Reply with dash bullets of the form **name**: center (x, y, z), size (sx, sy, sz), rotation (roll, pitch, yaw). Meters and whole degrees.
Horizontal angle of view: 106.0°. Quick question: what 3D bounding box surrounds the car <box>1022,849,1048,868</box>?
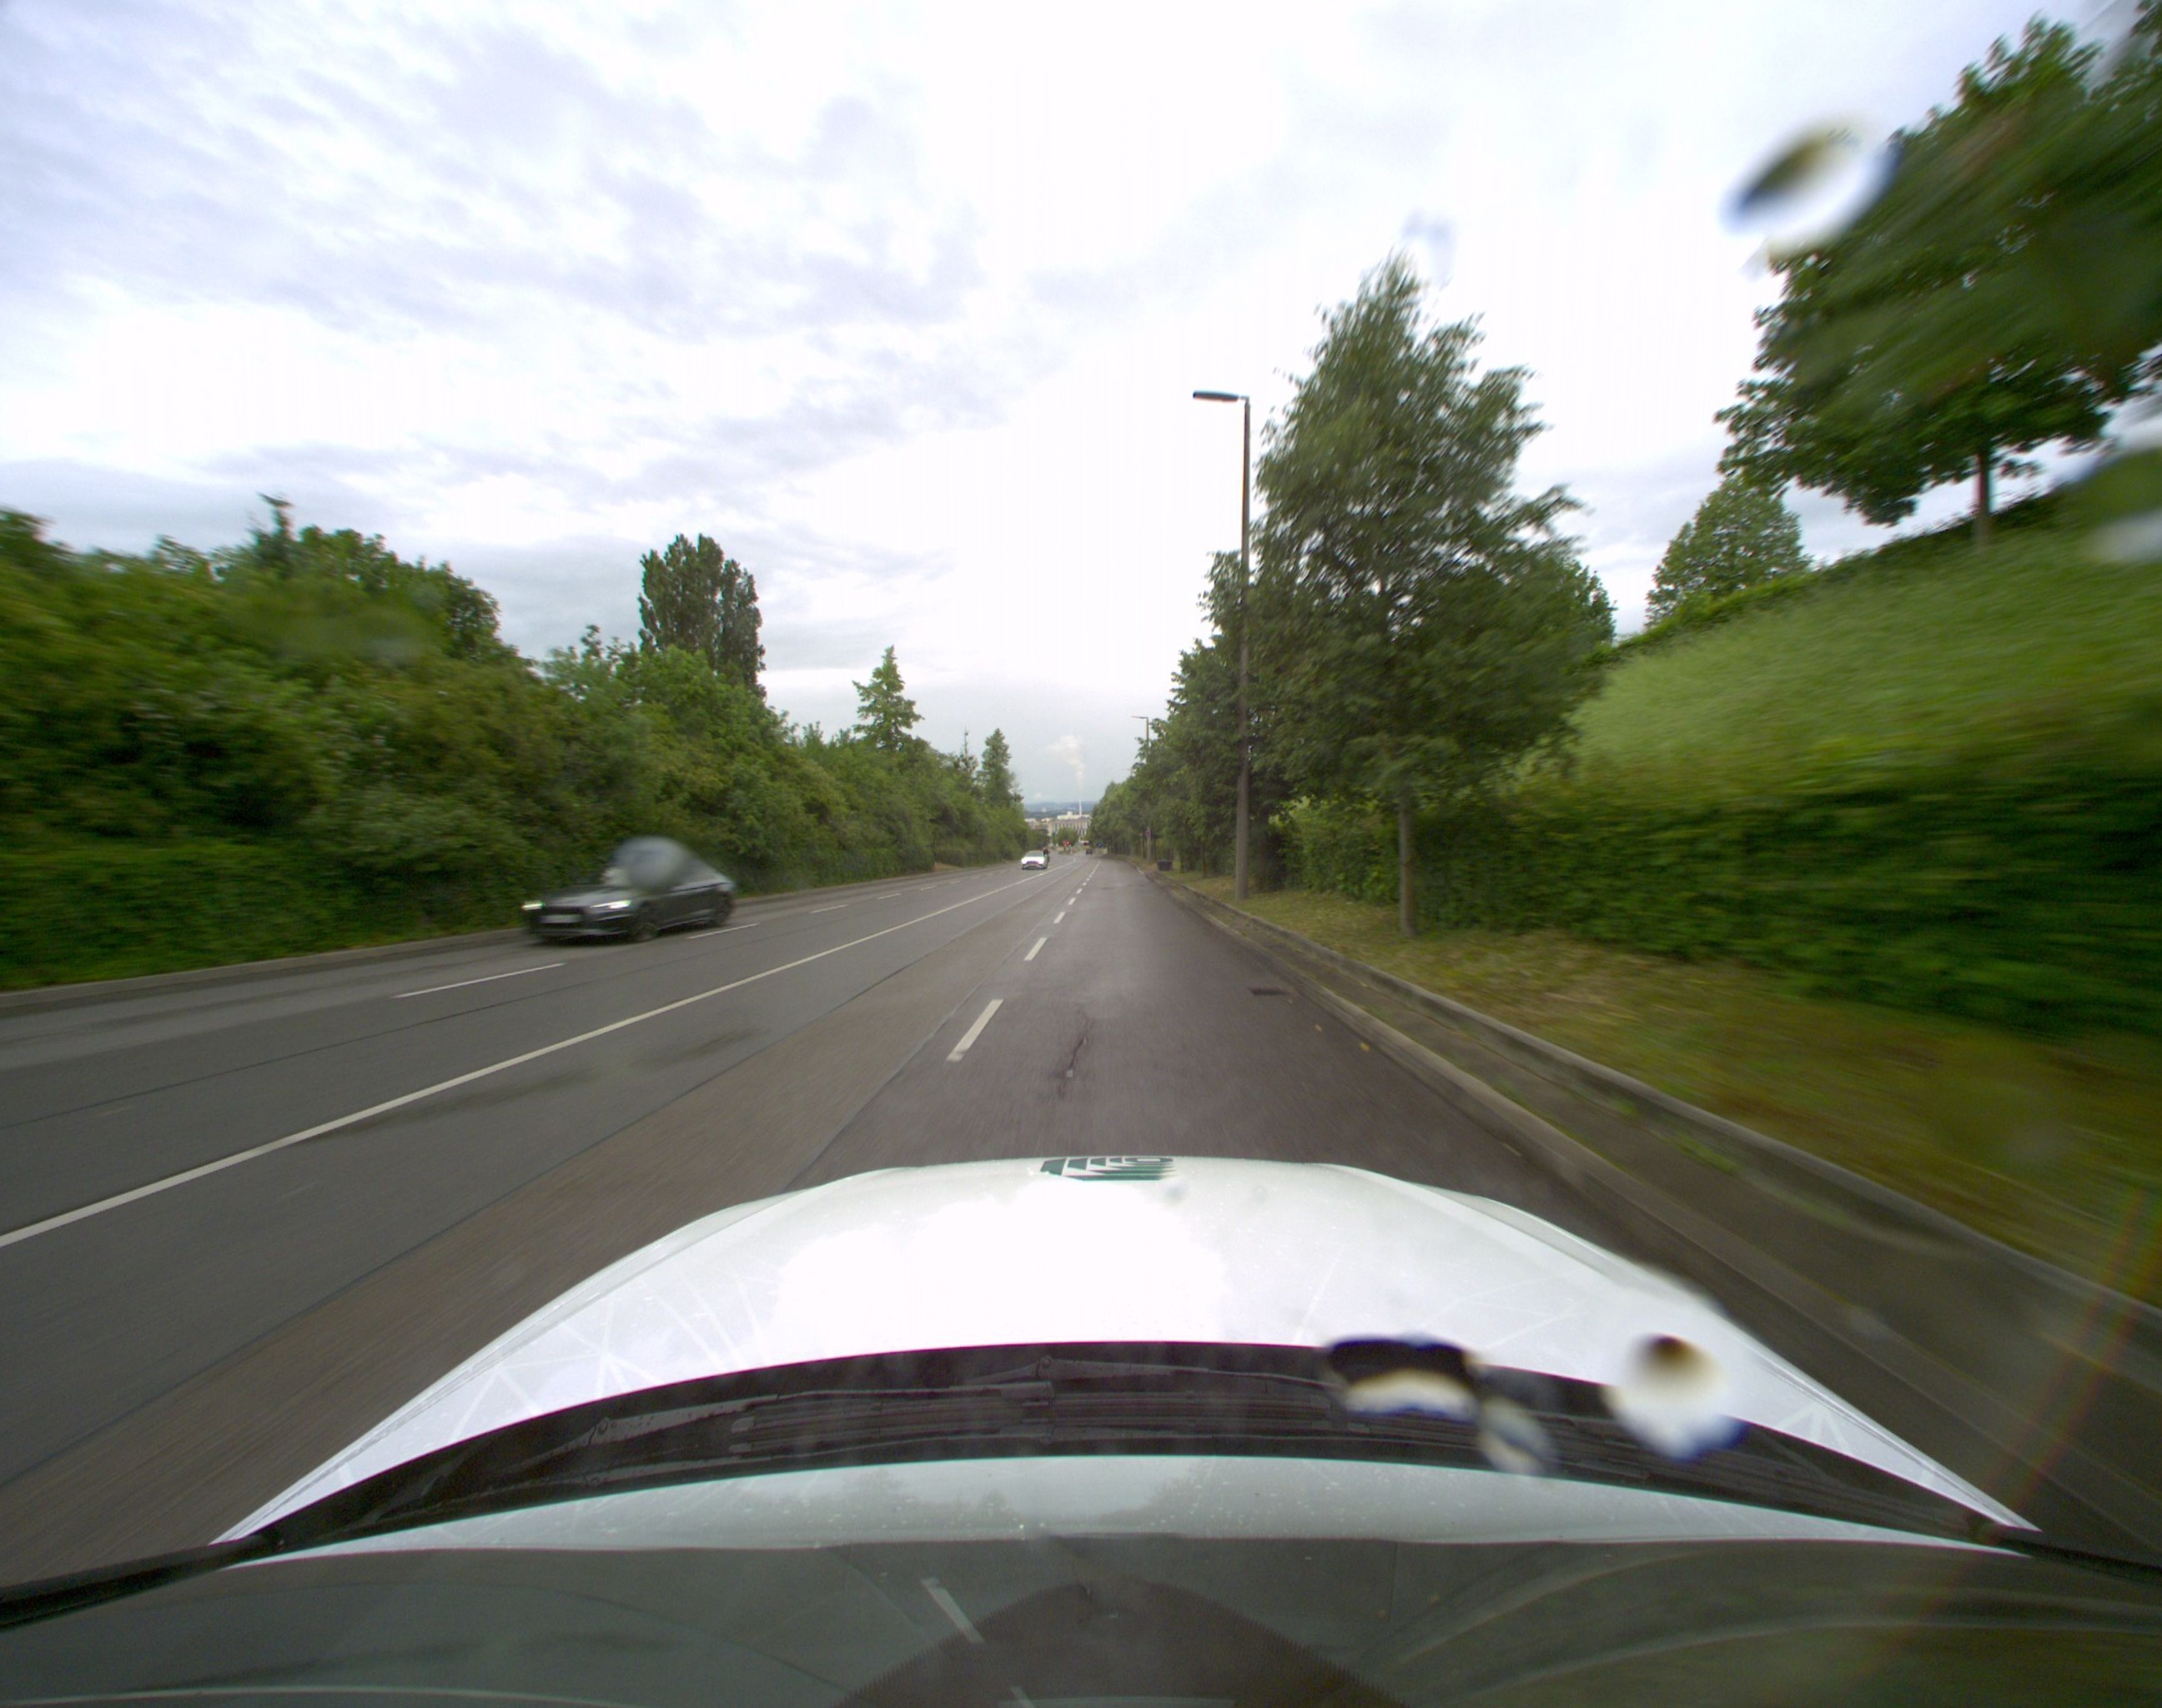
- **car**: center (-3.714, 0.348, 66.167), size (1.708, 1.505, 4.519), rotation (1, 0, 2)

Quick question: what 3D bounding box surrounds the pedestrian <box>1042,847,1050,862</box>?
- **pedestrian**: center (-3.584, 0.042, 83.445), size (0.802, 1.541, 1.112), rotation (0, 0, 2)

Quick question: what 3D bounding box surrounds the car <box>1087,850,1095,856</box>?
- **car**: center (2.655, -0.294, 217.158), size (1.844, 1.702, 3.791), rotation (1, -1, -1)

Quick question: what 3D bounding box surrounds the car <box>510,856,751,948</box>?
- **car**: center (-8.244, 0.780, 15.540), size (1.753, 1.381, 4.840), rotation (1, 1, 2)
